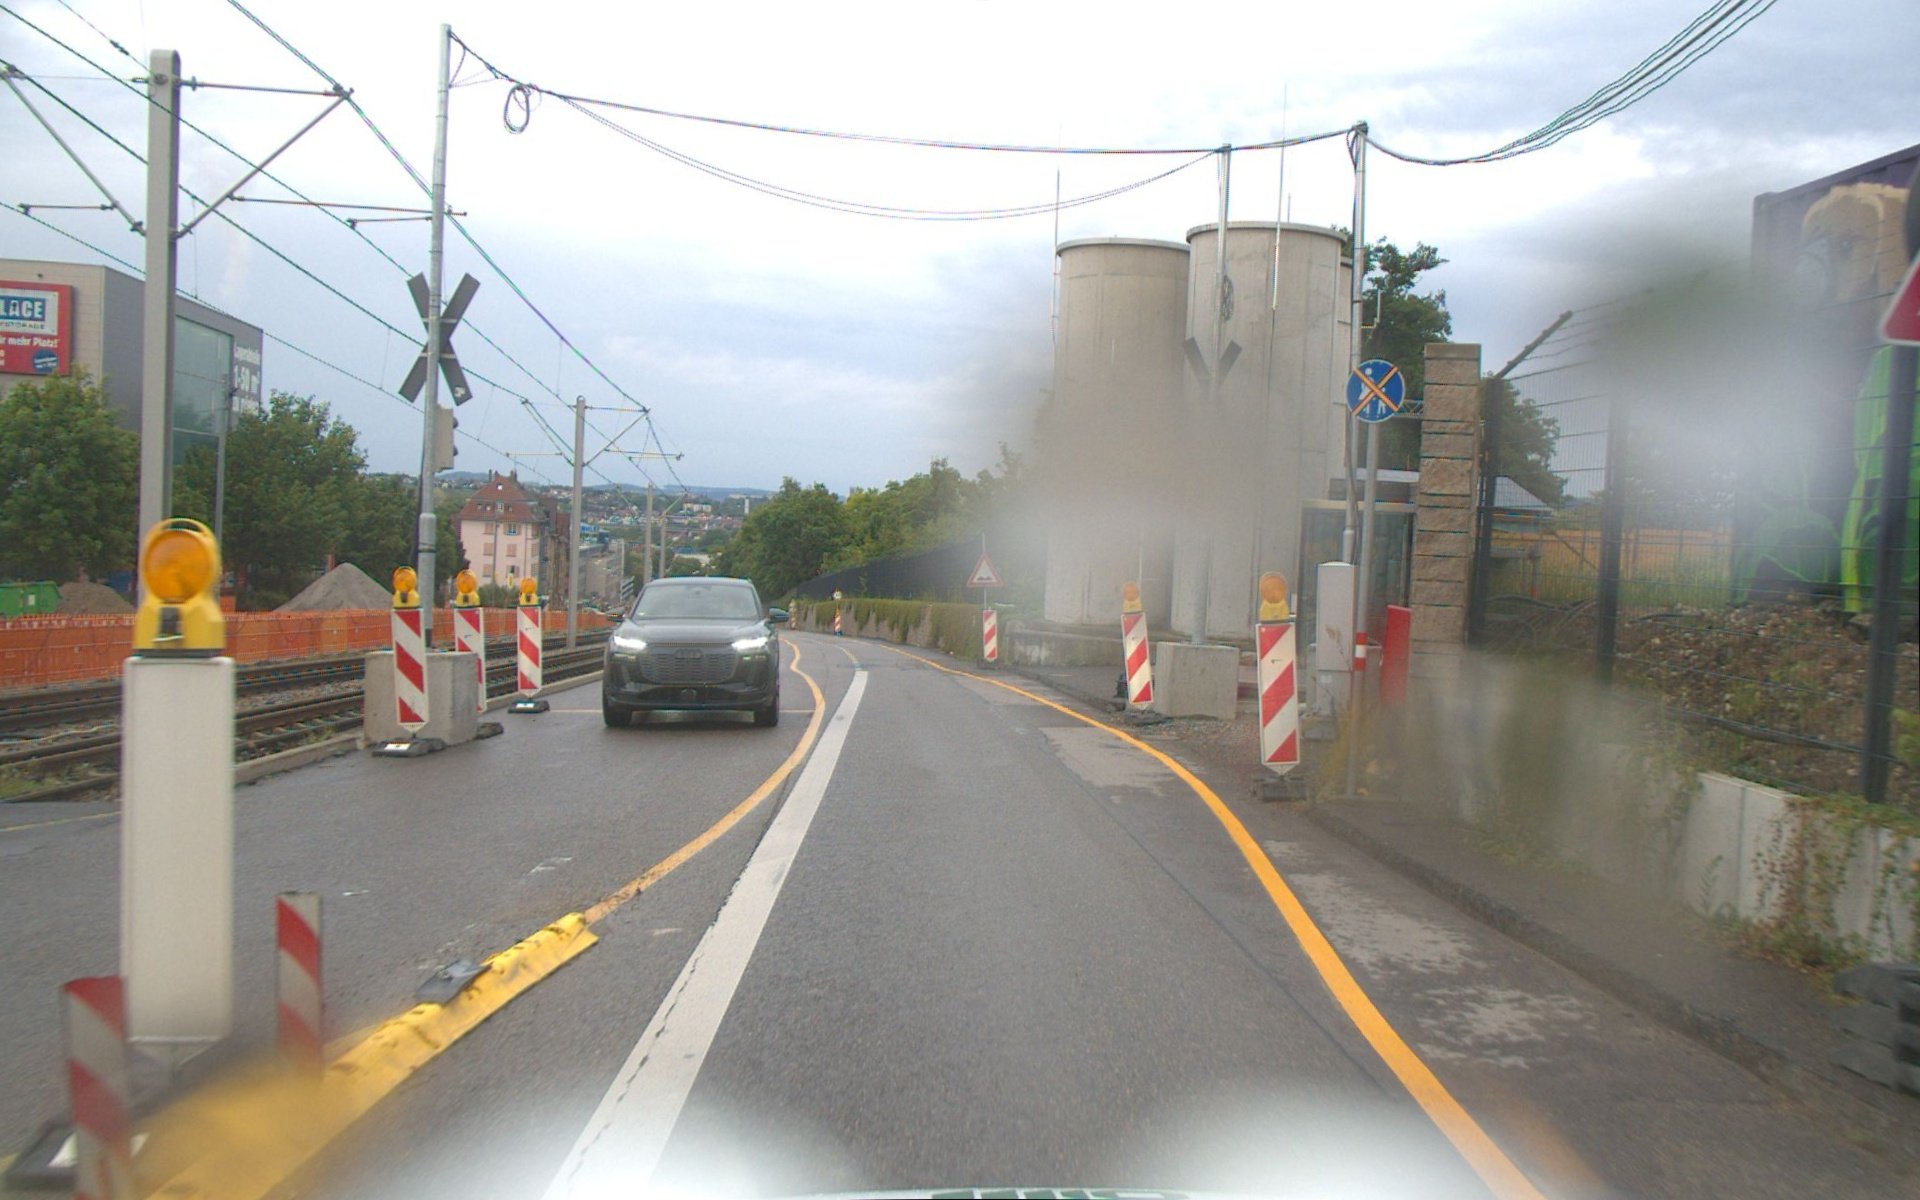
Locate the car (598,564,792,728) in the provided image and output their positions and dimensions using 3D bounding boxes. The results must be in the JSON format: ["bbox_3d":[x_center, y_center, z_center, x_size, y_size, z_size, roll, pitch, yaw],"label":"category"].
[{"bbox_3d":[-3.041,0.472,19.812,1.955,1.707,4.484,1,0,-5],"label":"car"}]
